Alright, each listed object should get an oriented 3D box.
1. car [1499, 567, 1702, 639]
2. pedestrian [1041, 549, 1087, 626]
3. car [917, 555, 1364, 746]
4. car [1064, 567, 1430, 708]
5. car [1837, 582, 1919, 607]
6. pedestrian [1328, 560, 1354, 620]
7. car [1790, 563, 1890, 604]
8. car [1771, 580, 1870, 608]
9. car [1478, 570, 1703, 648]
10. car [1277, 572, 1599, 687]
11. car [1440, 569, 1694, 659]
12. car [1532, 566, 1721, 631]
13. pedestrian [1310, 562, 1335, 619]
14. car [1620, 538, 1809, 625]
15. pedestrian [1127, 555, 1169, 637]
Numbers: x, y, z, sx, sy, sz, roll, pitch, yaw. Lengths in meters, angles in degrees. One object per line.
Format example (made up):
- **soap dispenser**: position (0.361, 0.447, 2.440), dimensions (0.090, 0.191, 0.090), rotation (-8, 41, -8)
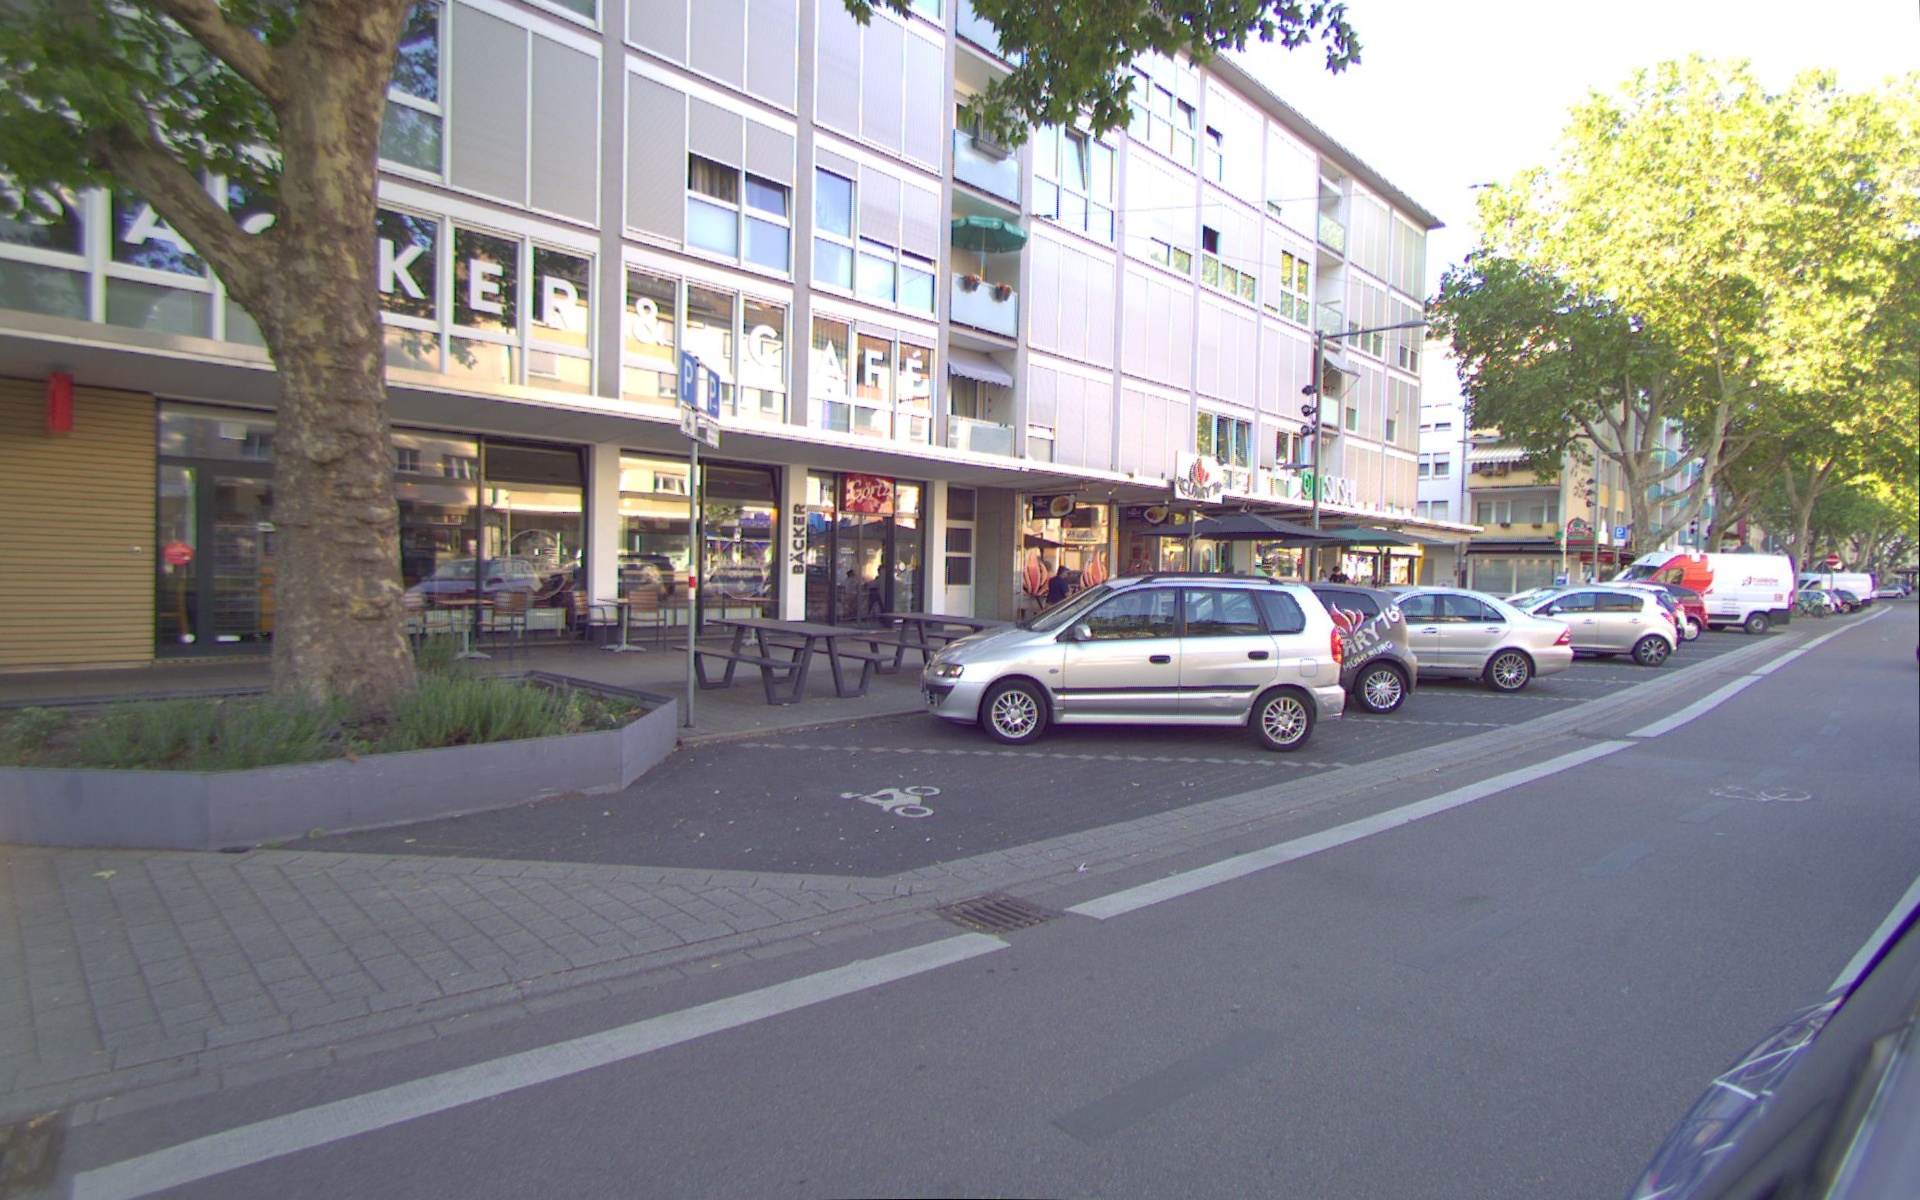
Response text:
- **car**: position (15.916, 0.031, 25.376), dimensions (3.888, 1.445, 1.669), rotation (4, 5, 17)
- **pedestrian**: position (2.206, -0.271, 21.434), dimensions (0.757, 1.602, 0.583), rotation (0, 2, -39)
- **car**: position (1.577, 0.423, 9.809), dimensions (3.906, 1.560, 1.679), rotation (2, 3, -3)
- **car**: position (3.341, 0.405, 12.284), dimensions (3.864, 1.446, 1.679), rotation (2, 3, -3)
- **car**: position (56.279, -0.340, 61.704), dimensions (3.864, 1.350, 1.782), rotation (1, 2, 3)
- **pedestrian**: position (11.248, -0.306, 29.863), dimensions (0.544, 1.741, 0.450), rotation (2, 2, 45)
- **car**: position (56.544, -1.075, 65.084), dimensions (4.512, 2.499, 1.977), rotation (1, 2, 3)
- **car**: position (48.052, -0.352, 56.551), dimensions (3.864, 1.422, 1.782), rotation (1, 2, 3)
- **car**: position (14.025, 0.151, 22.760), dimensions (3.886, 1.446, 1.670), rotation (3, 3, 16)
- **car**: position (6.876, 0.386, 14.837), dimensions (3.867, 1.418, 1.598), rotation (2, 3, 1)
- **car**: position (11.762, 0.235, 19.814), dimensions (3.871, 1.446, 1.559), rotation (3, 3, 4)
- **car**: position (18.082, -0.090, 27.655), dimensions (3.891, 1.445, 1.668), rotation (4, 5, 19)
- **pedestrian**: position (10.838, -0.295, 30.242), dimensions (0.536, 1.660, 0.470), rotation (2, 2, 45)
- **car**: position (23.834, -0.580, 32.082), dimensions (4.514, 2.525, 1.675), rotation (2, 0, 5)
- **pedestrian**: position (3.760, -0.097, 20.237), dimensions (0.559, 1.596, 0.632), rotation (2, 2, 44)
